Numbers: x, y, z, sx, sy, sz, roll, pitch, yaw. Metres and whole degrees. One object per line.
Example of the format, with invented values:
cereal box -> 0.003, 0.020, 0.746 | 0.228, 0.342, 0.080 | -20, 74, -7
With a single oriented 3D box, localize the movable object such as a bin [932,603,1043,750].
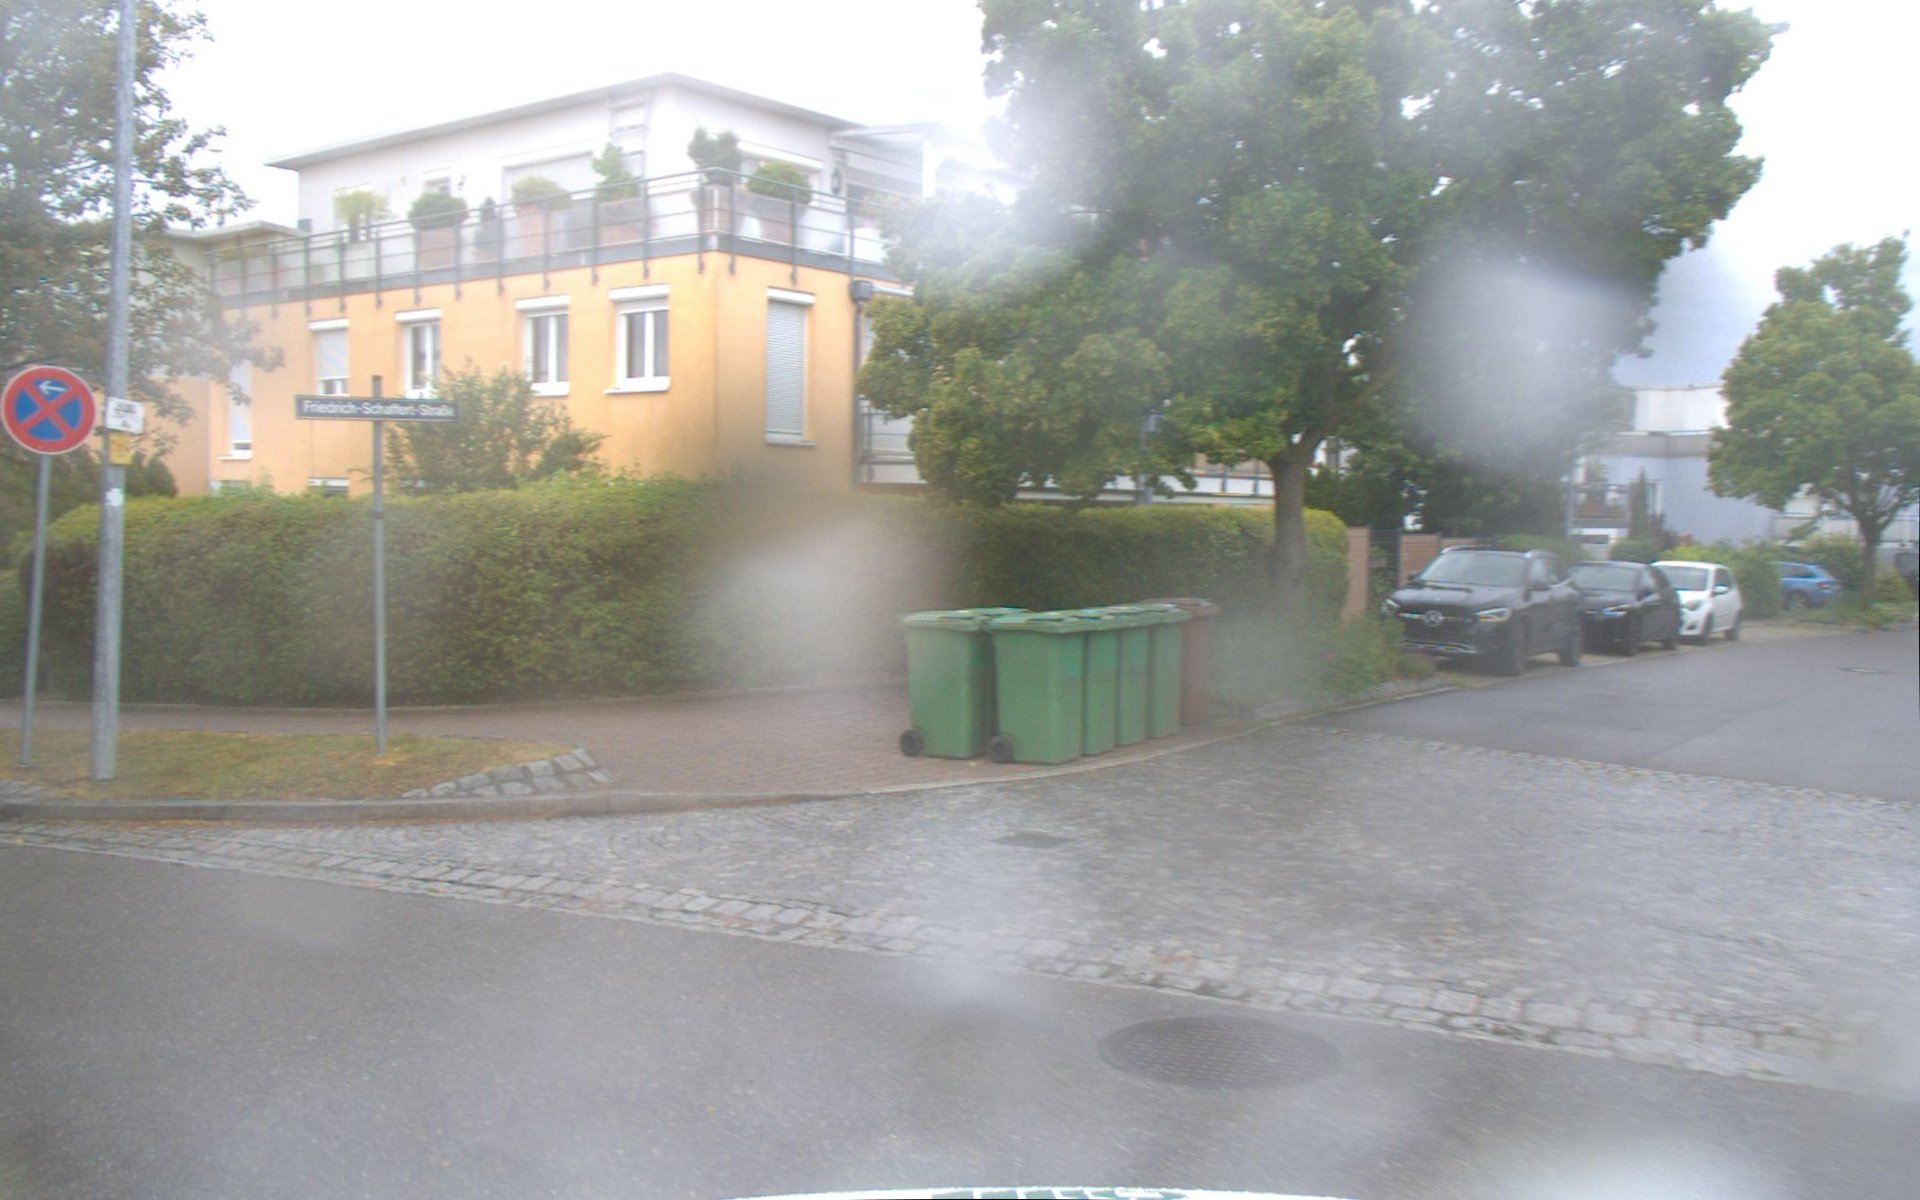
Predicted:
movable object such as a bin -> 0.221, 0.586, 13.085 | 0.681, 1.091, 0.597 | 1, 2, 27

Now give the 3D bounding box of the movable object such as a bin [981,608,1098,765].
movable object such as a bin -> 0.592, 0.620, 12.236 | 0.681, 1.093, 0.601 | 1, 2, 27

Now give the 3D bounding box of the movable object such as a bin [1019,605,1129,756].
movable object such as a bin -> 0.882, 0.602, 12.753 | 0.681, 1.093, 0.543 | 1, 2, 27

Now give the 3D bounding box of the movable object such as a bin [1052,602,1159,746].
movable object such as a bin -> 1.170, 0.576, 13.278 | 0.681, 1.085, 0.578 | 1, 2, 27

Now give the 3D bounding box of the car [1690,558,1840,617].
car -> 24.662, -0.403, 50.695 | 3.915, 1.595, 1.904 | 3, 2, 32

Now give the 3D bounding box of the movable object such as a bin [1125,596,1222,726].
movable object such as a bin -> 1.875, 0.520, 14.497 | 0.681, 1.073, 0.605 | 1, 2, 27

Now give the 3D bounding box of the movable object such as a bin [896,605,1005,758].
movable object such as a bin -> -0.070, 0.598, 12.543 | 0.652, 1.092, 0.543 | 1, 2, 28

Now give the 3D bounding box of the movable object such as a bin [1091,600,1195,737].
movable object such as a bin -> 1.530, 0.553, 13.801 | 0.681, 1.073, 0.605 | 1, 2, 27

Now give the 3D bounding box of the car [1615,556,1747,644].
car -> 13.741, -0.017, 31.456 | 1.487, 1.502, 3.259 | 5, 3, 37

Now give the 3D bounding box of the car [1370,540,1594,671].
car -> 7.247, 0.026, 22.726 | 1.745, 1.544, 4.124 | 5, 3, 34

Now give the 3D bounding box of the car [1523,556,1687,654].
car -> 10.769, 0.053, 27.508 | 1.608, 1.433, 3.590 | 5, 3, 36
